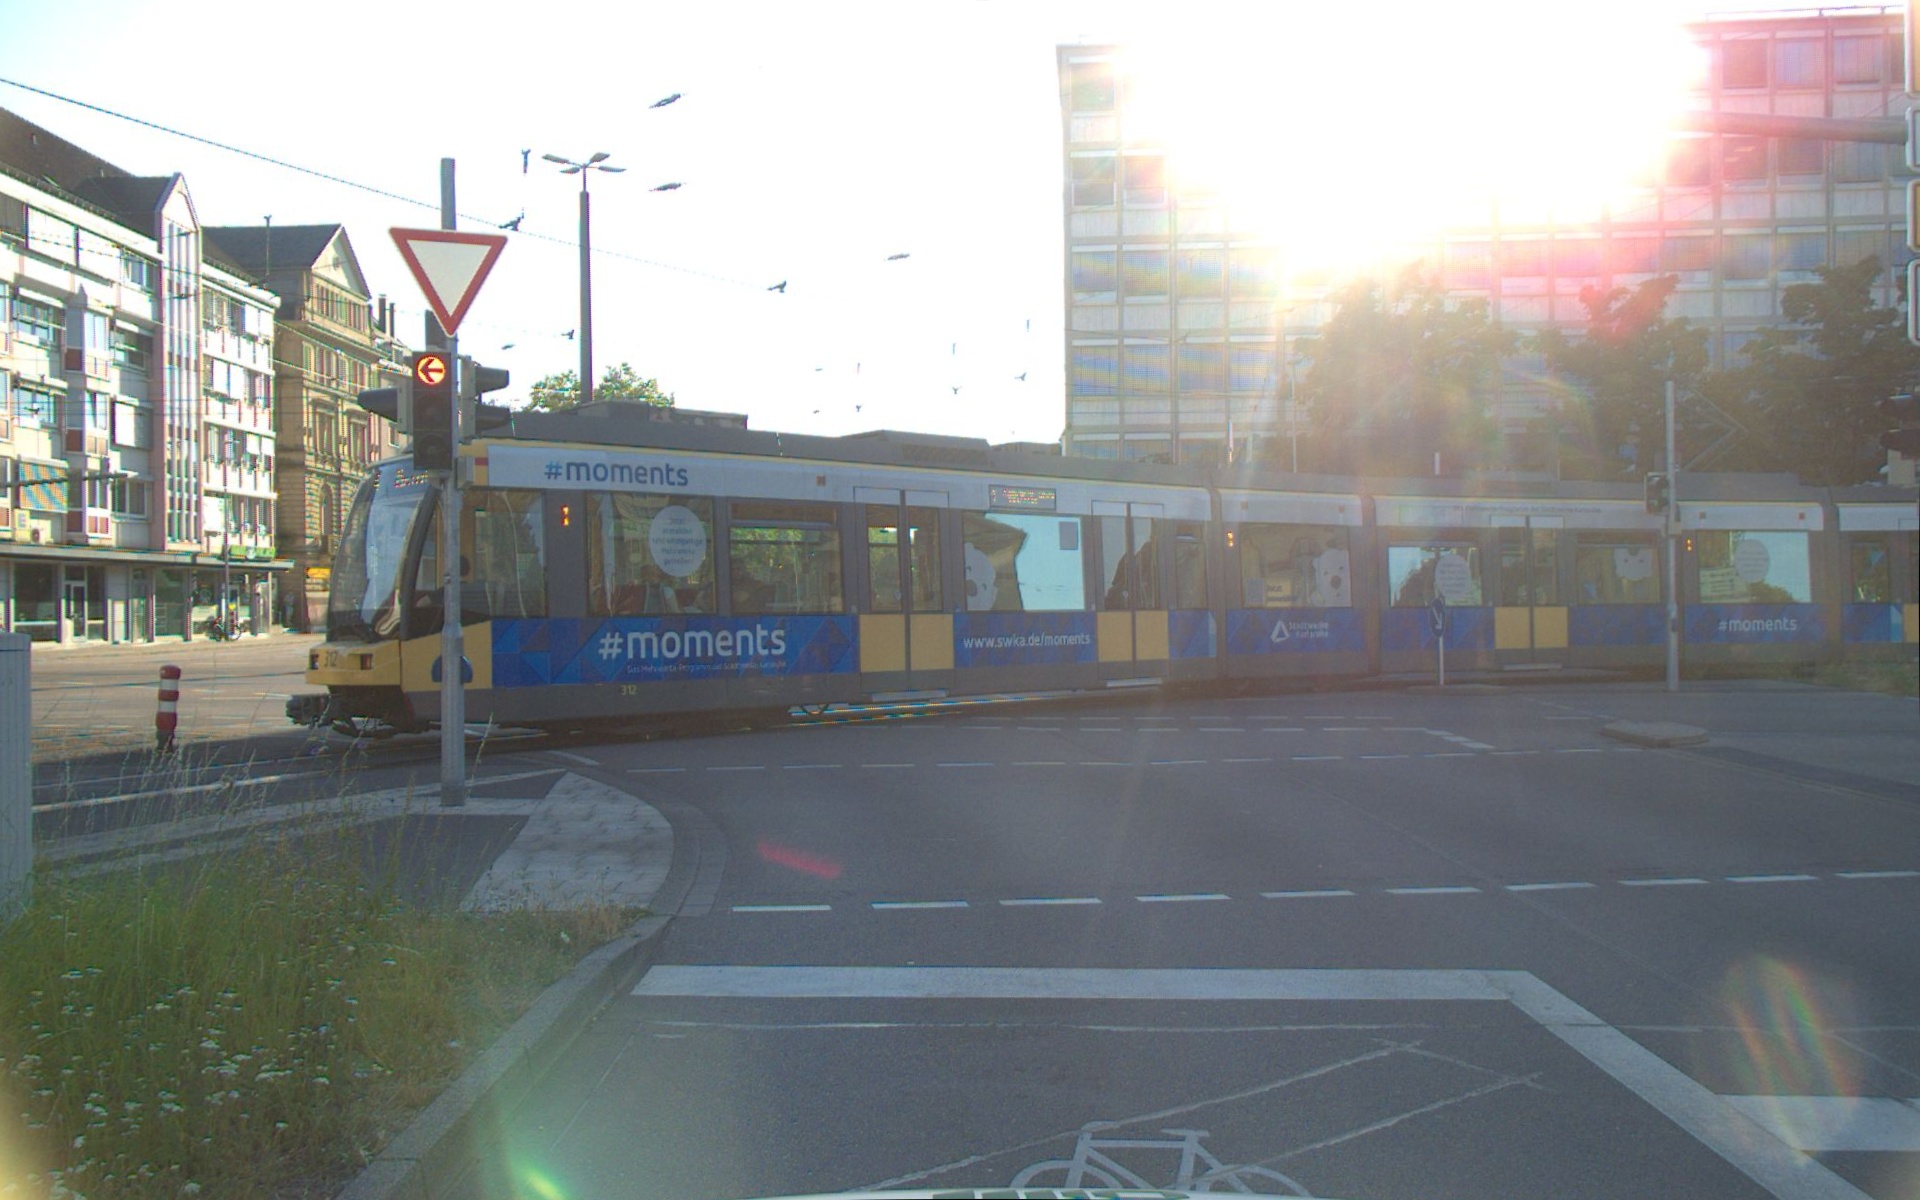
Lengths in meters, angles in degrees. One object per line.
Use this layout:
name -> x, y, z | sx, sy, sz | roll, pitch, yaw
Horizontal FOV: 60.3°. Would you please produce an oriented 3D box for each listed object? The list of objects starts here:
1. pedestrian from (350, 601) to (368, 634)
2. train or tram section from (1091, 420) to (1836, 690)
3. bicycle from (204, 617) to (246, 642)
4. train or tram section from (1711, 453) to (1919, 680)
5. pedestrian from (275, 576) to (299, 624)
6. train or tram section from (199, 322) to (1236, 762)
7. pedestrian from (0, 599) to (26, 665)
pedestrian -> -31.487, 0.926, 86.663 | 0.681, 1.725, 0.724 | 1, -1, -1
train or tram section -> 8.723, -0.679, 28.069 | 12.760, 3.900, 3.690 | 0, 0, -23
bicycle -> -32.435, 1.291, 73.027 | 0.441, 1.089, 2.093 | 1, 0, 16
train or tram section -> 21.138, -0.472, 30.989 | 12.683, 3.901, 3.712 | 1, 0, -5
pedestrian -> -34.608, -0.018, 85.050 | 0.910, 2.440, 0.958 | 1, -1, -11
train or tram section -> -1.992, -0.525, 20.661 | 13.258, 3.901, 3.655 | 0, -1, -44
pedestrian -> -30.115, 0.997, 51.756 | 1.171, 1.913, 0.857 | 1, 11, -5
